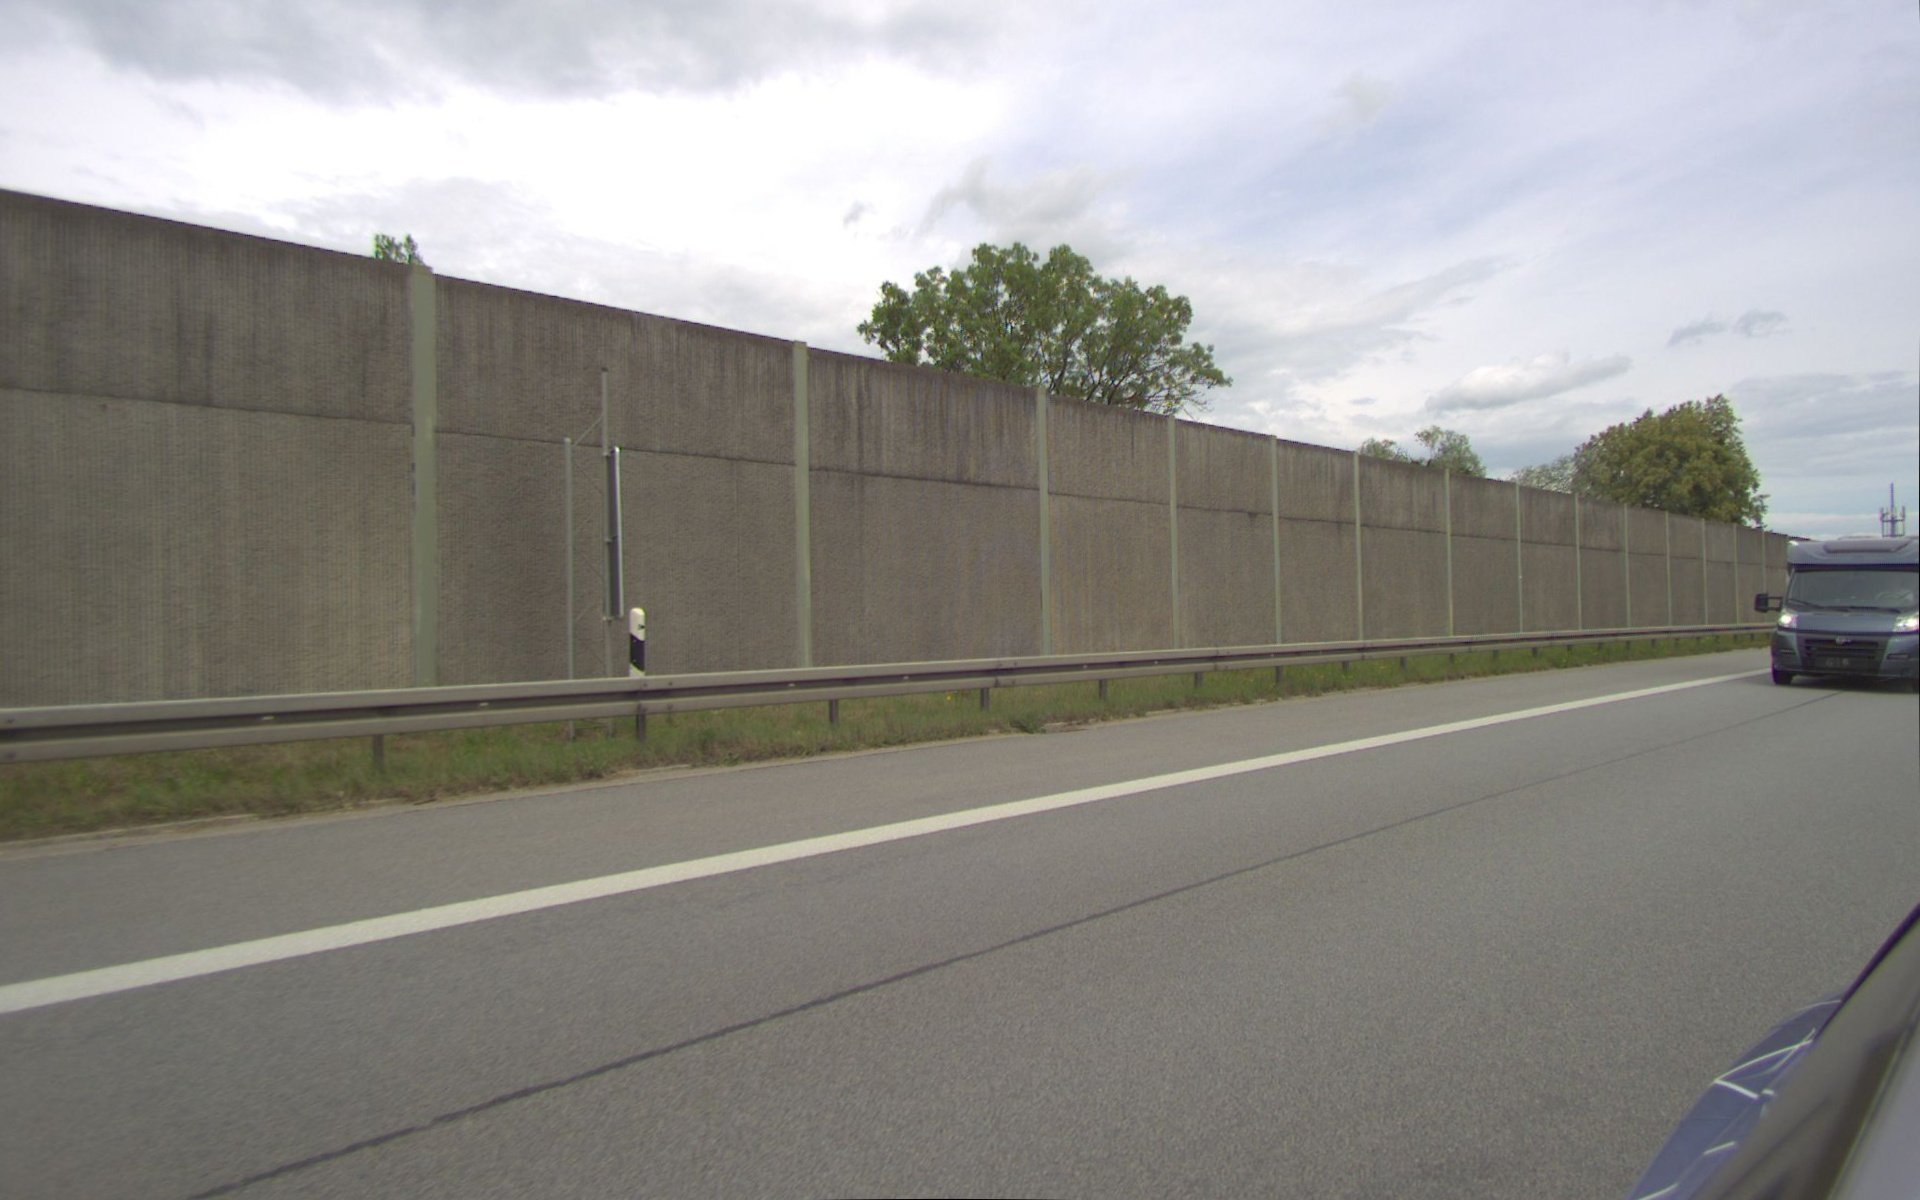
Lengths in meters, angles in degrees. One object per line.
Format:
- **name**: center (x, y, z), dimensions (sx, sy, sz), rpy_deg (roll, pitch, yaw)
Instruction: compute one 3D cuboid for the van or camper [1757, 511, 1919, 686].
- **van or camper**: center (17.118, -0.016, 18.620), dimensions (7.096, 2.731, 2.434), rpy_deg (0, 0, -40)
